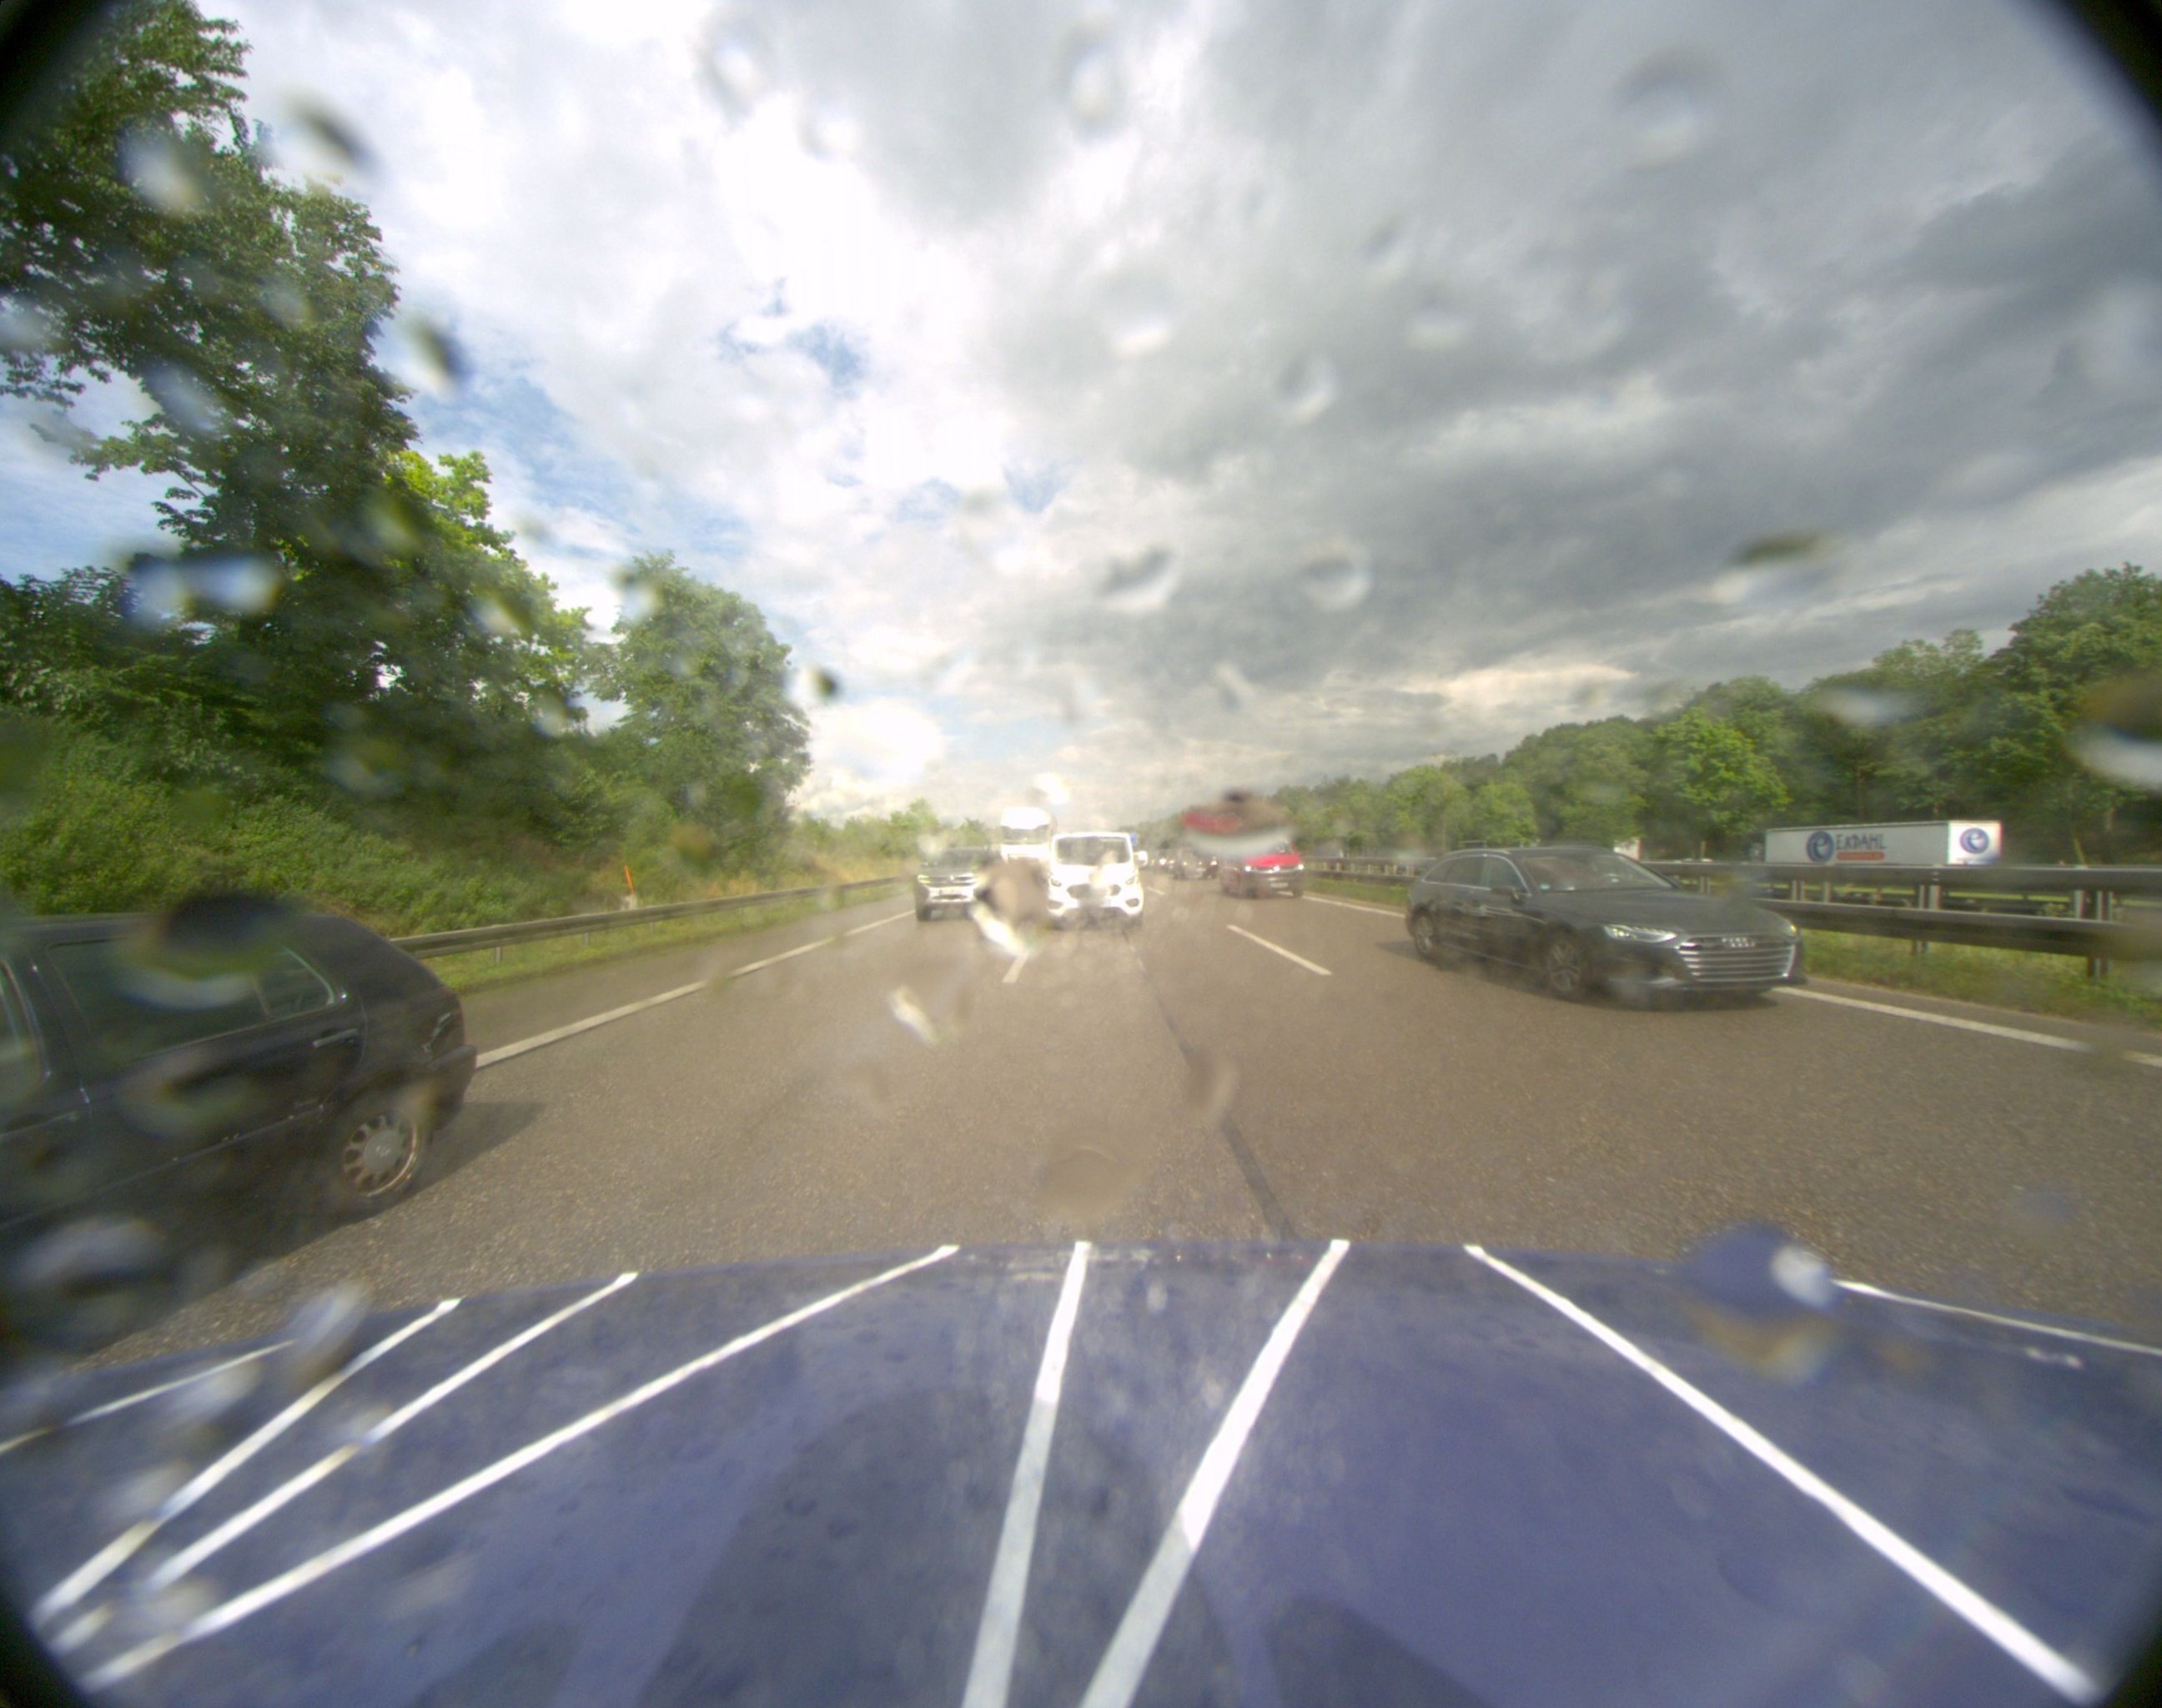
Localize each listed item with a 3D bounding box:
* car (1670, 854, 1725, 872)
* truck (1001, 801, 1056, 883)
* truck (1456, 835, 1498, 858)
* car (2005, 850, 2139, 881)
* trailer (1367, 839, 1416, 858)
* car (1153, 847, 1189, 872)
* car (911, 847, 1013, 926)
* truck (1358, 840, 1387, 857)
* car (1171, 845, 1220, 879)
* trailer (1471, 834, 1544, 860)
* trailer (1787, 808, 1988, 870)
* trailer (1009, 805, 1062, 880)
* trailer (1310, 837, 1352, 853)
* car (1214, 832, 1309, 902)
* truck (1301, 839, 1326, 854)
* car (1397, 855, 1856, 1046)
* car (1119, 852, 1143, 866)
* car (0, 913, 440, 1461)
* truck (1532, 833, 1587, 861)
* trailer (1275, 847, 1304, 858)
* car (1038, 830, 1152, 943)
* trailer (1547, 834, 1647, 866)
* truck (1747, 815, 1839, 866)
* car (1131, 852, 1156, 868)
[{"bbox_3d":[55.015,0.804,67.885,1.899,1.494,4.001,0,0,4],"label":"car"},{"bbox_3d":[-2.740,-0.627,41.387,2.460,4.080,5.332,-2,0,0],"label":"truck"},{"bbox_3d":[56.857,-1.046,109.330,2.582,3.232,6.535,0,1,0],"label":"truck"},{"bbox_3d":[50.551,0.568,38.897,1.898,1.494,4.002,0,0,8],"label":"car"},{"bbox_3d":[55.483,-0.937,136.411,3.193,3.253,12.644,0,1,-2],"label":"trailer"},{"bbox_3d":[6.068,0.343,51.620,1.895,1.558,4.053,-2,1,0],"label":"car"},{"bbox_3d":[-3.005,0.732,20.306,1.831,1.793,5.305,-1,0,0],"label":"car"},{"bbox_3d":[55.189,-1.031,144.002,3.182,3.237,5.389,0,1,-2],"label":"truck"},{"bbox_3d":[5.984,0.361,40.249,1.895,1.660,4.294,-2,1,0],"label":"car"},{"bbox_3d":[56.827,-0.967,101.726,2.611,3.253,12.646,0,1,0],"label":"trailer"},{"bbox_3d":[52.350,-0.932,50.052,2.187,3.579,11.725,0,0,8],"label":"trailer"},{"bbox_3d":[-2.720,-0.715,48.885,2.451,4.095,12.214,-2,1,0],"label":"trailer"},{"bbox_3d":[52.855,-1.823,161.349,3.086,3.253,13.400,0,1,-6],"label":"trailer"},{"bbox_3d":[5.653,0.364,24.421,1.895,1.973,4.750,-2,0,0],"label":"car"},{"bbox_3d":[51.902,-1.768,169.612,3.082,3.237,6.093,0,1,-7],"label":"truck"},{"bbox_3d":[5.208,0.757,8.186,1.723,1.403,4.467,-2,1,0],"label":"car"},{"bbox_3d":[4.674,0.445,71.141,1.888,1.228,4.506,-2,0,0],"label":"car"},{"bbox_3d":[-3.949,1.047,1.810,1.655,1.448,3.744,-2,1,-1],"label":"car"},{"bbox_3d":[56.498,-0.837,89.910,3.049,3.165,5.597,0,1,2],"label":"truck"},{"bbox_3d":[49.814,-0.360,181.821,2.537,2.559,9.869,-2,1,-11],"label":"trailer"},{"bbox_3d":[0.257,0.577,16.347,1.985,1.973,5.168,-2,0,0],"label":"car"},{"bbox_3d":[56.119,-0.455,83.193,3.026,3.174,12.175,0,0,2],"label":"trailer"},{"bbox_3d":[53.344,-0.979,57.120,2.167,3.599,5.581,0,1,8],"label":"truck"},{"bbox_3d":[5.196,0.507,63.260,1.675,1.228,3.999,-2,0,0],"label":"car"}]
